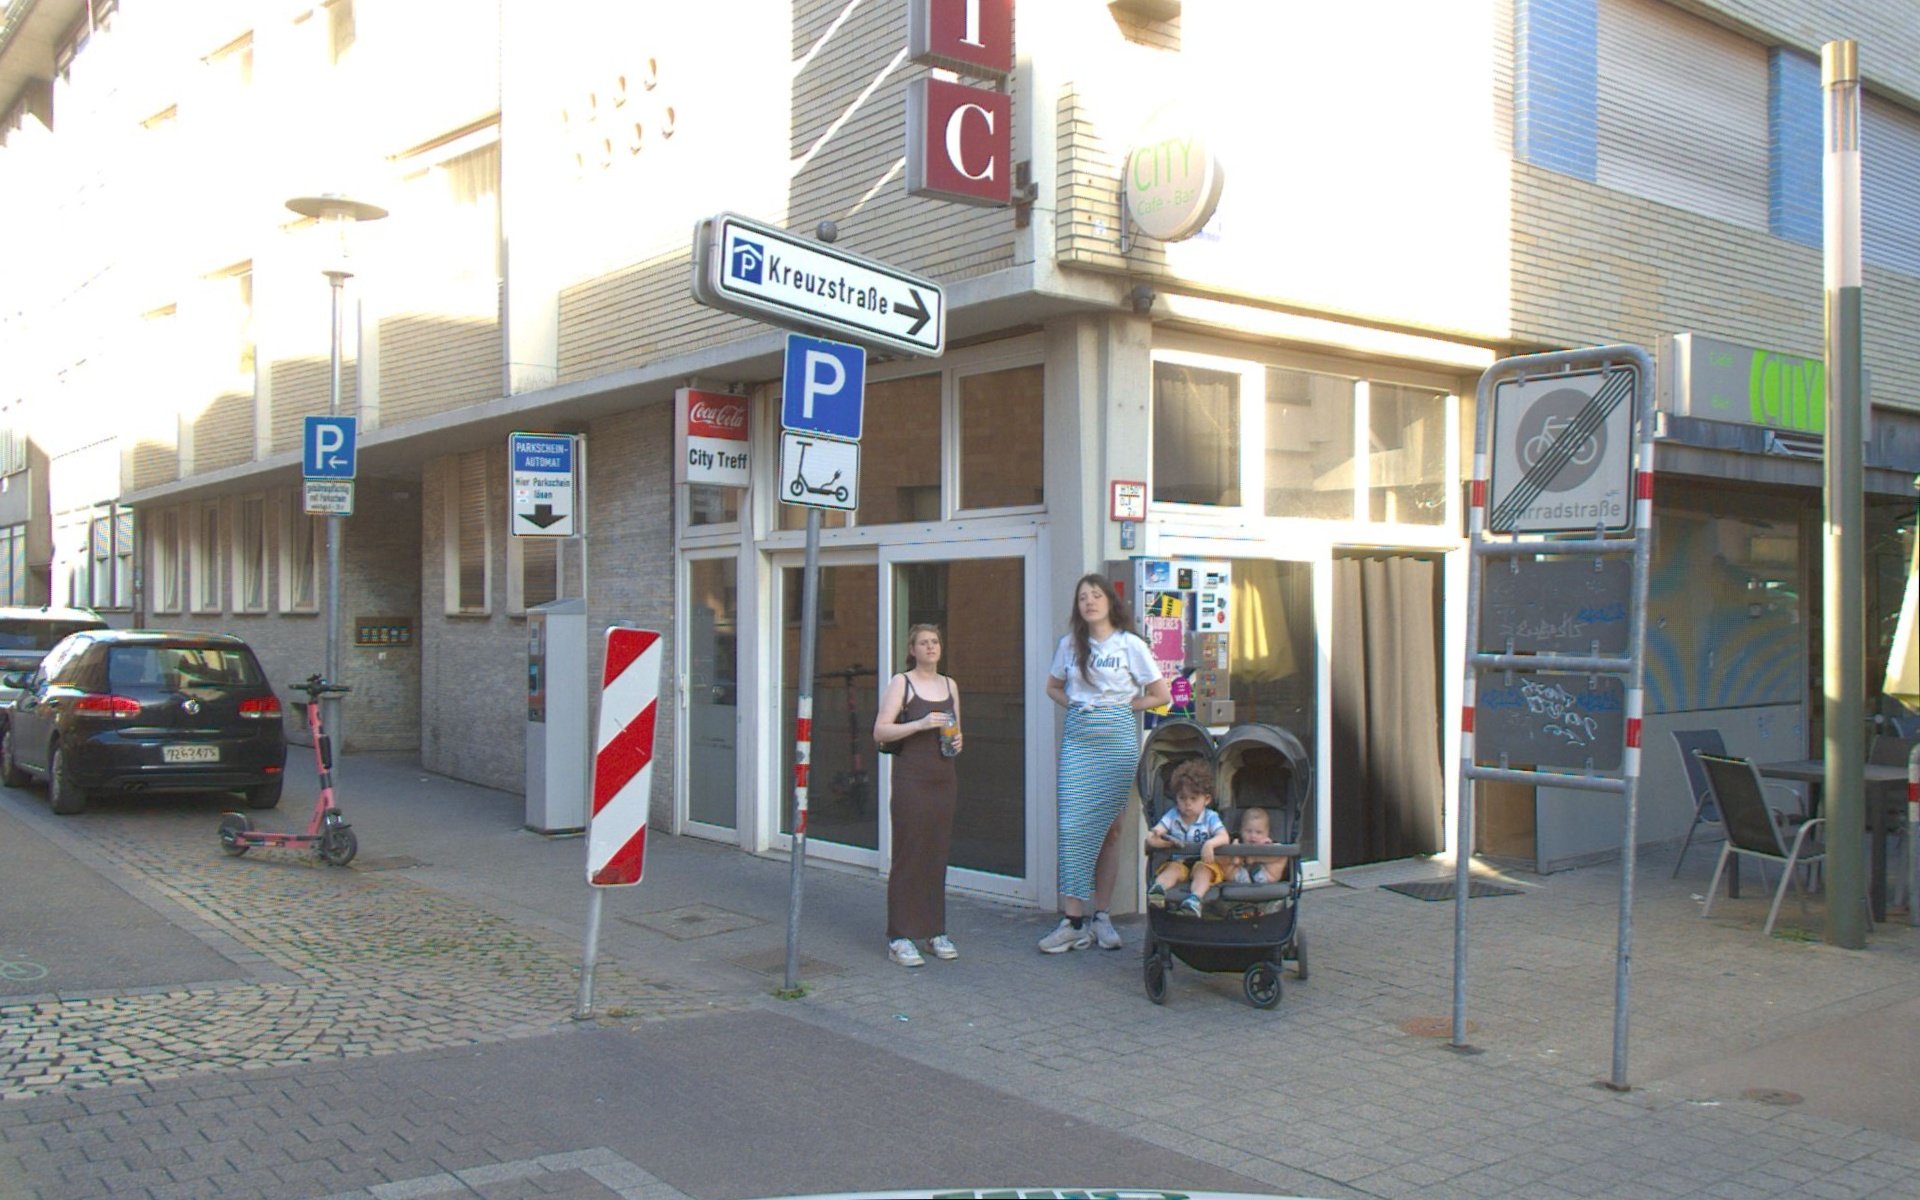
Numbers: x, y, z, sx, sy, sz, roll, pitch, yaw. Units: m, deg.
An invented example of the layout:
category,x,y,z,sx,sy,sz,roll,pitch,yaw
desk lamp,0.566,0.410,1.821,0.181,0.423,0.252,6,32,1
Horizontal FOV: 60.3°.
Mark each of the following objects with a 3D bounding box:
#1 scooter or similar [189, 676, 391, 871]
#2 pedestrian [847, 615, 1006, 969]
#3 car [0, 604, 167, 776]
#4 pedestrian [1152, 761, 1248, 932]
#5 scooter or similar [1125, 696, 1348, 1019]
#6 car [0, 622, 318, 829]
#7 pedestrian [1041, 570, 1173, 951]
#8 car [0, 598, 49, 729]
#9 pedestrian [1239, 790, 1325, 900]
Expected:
category,x,y,z,sx,sy,sz,roll,pitch,yaw
scooter or similar,-4.488,1.133,11.075,1.276,1.215,0.494,0,-1,23
pedestrian,-0.158,0.864,7.751,0.566,1.567,0.437,-2,1,-30
car,-10.747,0.957,18.933,1.980,1.732,4.776,3,-3,-38
pedestrian,1.020,1.026,6.987,0.324,0.644,0.509,0,-1,17
scooter or similar,1.151,1.053,7.108,0.850,1.197,1.045,0,1,4
car,-7.384,1.017,14.783,1.810,1.531,4.537,4,-3,-38
pedestrian,0.712,0.746,8.013,0.611,1.767,0.623,0,-1,5
car,-15.238,0.894,24.691,2.088,1.817,4.983,2,-2,-38
pedestrian,1.359,1.026,6.966,0.324,0.405,0.312,0,-1,17
